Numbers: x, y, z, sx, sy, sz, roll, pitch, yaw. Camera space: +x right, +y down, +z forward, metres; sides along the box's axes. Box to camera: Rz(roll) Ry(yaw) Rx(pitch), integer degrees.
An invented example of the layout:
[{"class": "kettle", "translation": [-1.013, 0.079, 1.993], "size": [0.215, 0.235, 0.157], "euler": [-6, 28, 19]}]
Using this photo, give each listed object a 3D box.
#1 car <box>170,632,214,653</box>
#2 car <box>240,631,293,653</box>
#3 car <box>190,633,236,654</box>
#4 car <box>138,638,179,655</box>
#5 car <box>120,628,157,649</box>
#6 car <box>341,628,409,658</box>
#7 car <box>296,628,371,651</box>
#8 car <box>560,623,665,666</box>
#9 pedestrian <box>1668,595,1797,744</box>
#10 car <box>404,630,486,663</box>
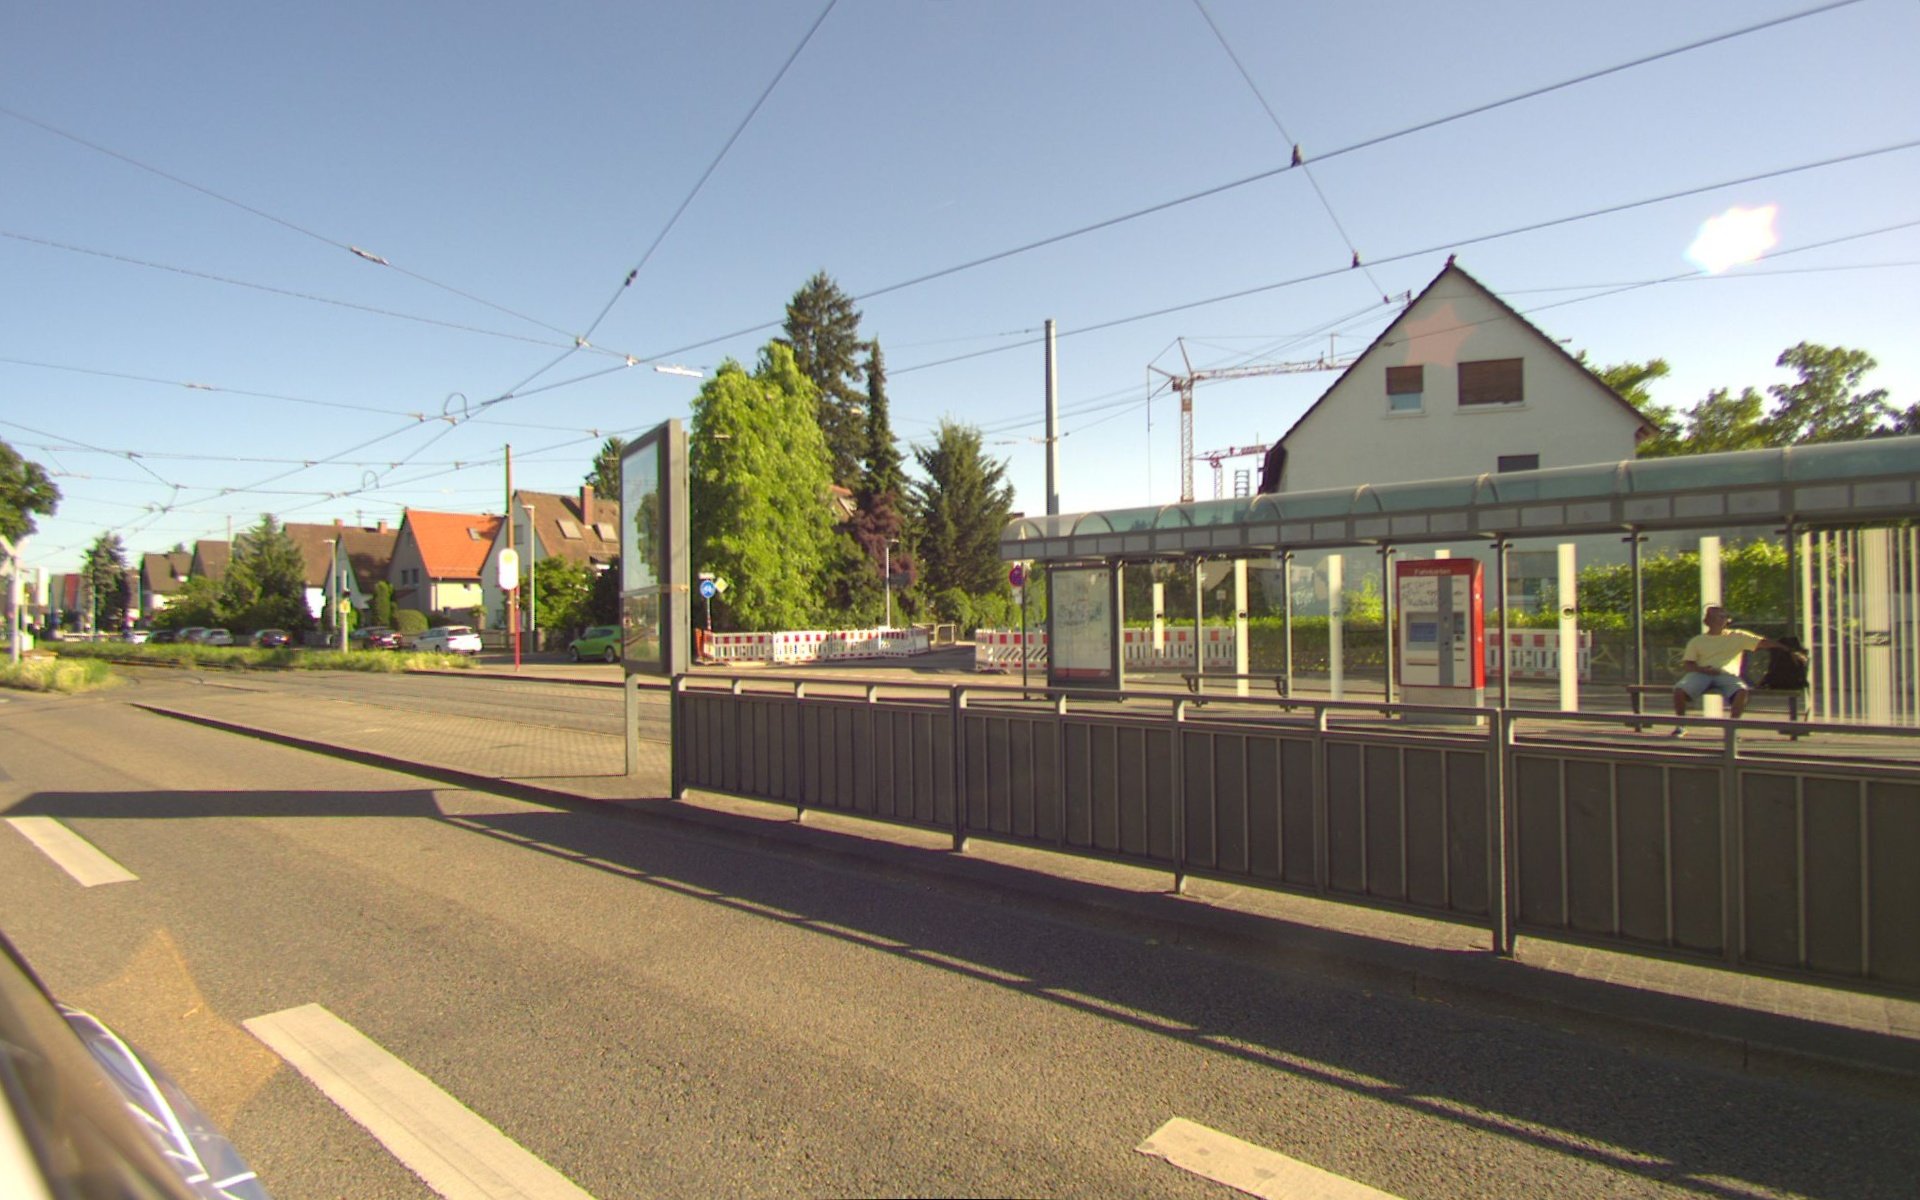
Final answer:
[{"class": "car", "translation": [-61.060, 3.364, 80.429], "size": [4.534, 1.573, 1.864], "euler": [-2, 0, 41]}, {"class": "car", "translation": [-46.490, 2.805, 67.808], "size": [4.308, 1.382, 1.972], "euler": [-2, -1, 42]}, {"class": "car", "translation": [-57.075, 3.304, 77.317], "size": [4.837, 1.483, 1.864], "euler": [-2, 0, 42]}, {"class": "car", "translation": [-69.825, 4.034, 88.154], "size": [4.980, 1.351, 1.973], "euler": [-1, 0, 41]}, {"class": "car", "translation": [-76.416, 3.577, 94.082], "size": [4.582, 1.877, 1.973], "euler": [-2, -1, 41]}, {"class": "car", "translation": [-32.263, 2.342, 55.745], "size": [4.439, 1.477, 1.887], "euler": [-1, 0, 41]}, {"class": "car", "translation": [-47.017, 2.943, 76.013], "size": [1.746, 1.481, 4.433], "euler": [-1, 1, 39]}, {"class": "car", "translation": [-13.609, 1.721, 39.606], "size": [4.063, 1.512, 1.975], "euler": [-1, 0, 38]}, {"class": "pedestrian", "translation": [8.139, 0.699, 10.662], "size": [1.006, 1.464, 1.050], "euler": [-1, -2, 40]}, {"class": "car", "translation": [-25.038, 2.220, 49.150], "size": [4.610, 1.483, 1.865], "euler": [-1, 0, 40]}]
